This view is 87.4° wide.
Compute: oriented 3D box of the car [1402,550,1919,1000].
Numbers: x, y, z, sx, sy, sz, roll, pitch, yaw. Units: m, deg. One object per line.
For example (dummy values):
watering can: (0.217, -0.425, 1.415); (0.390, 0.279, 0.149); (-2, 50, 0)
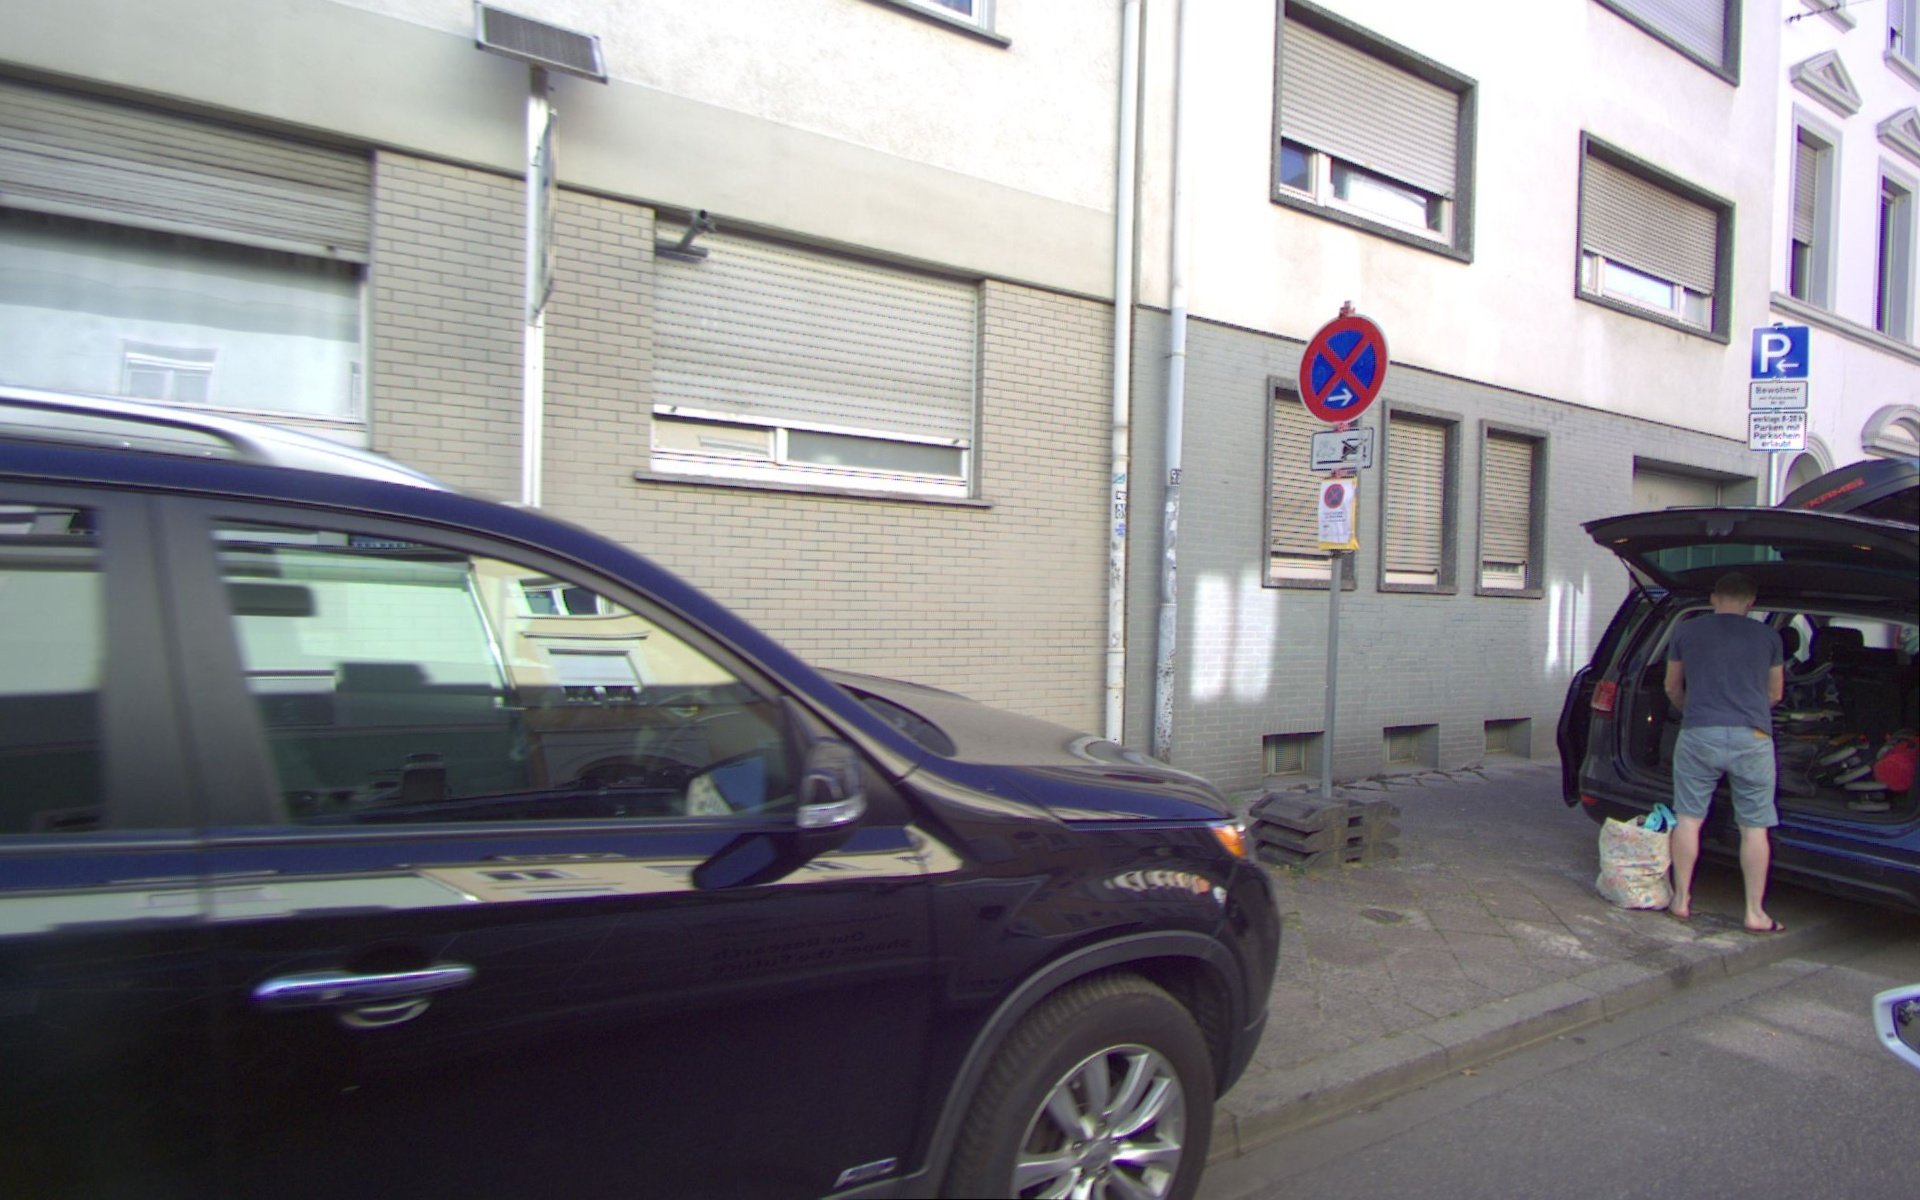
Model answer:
car: (5.416, 0.698, 6.090); (5.181, 1.728, 2.429); (1, 1, -30)

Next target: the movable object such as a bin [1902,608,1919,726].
movable object such as a bin: (12.955, 0.888, 13.223); (0.580, 1.553, 0.636); (1, 0, -29)

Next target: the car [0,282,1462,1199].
car: (-1.151, 0.509, 2.077); (4.495, 1.779, 1.868); (0, 4, -34)

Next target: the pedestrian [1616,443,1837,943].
pedestrian: (3.793, 0.430, 4.981); (0.680, 2.258, 0.616); (2, -1, -30)
